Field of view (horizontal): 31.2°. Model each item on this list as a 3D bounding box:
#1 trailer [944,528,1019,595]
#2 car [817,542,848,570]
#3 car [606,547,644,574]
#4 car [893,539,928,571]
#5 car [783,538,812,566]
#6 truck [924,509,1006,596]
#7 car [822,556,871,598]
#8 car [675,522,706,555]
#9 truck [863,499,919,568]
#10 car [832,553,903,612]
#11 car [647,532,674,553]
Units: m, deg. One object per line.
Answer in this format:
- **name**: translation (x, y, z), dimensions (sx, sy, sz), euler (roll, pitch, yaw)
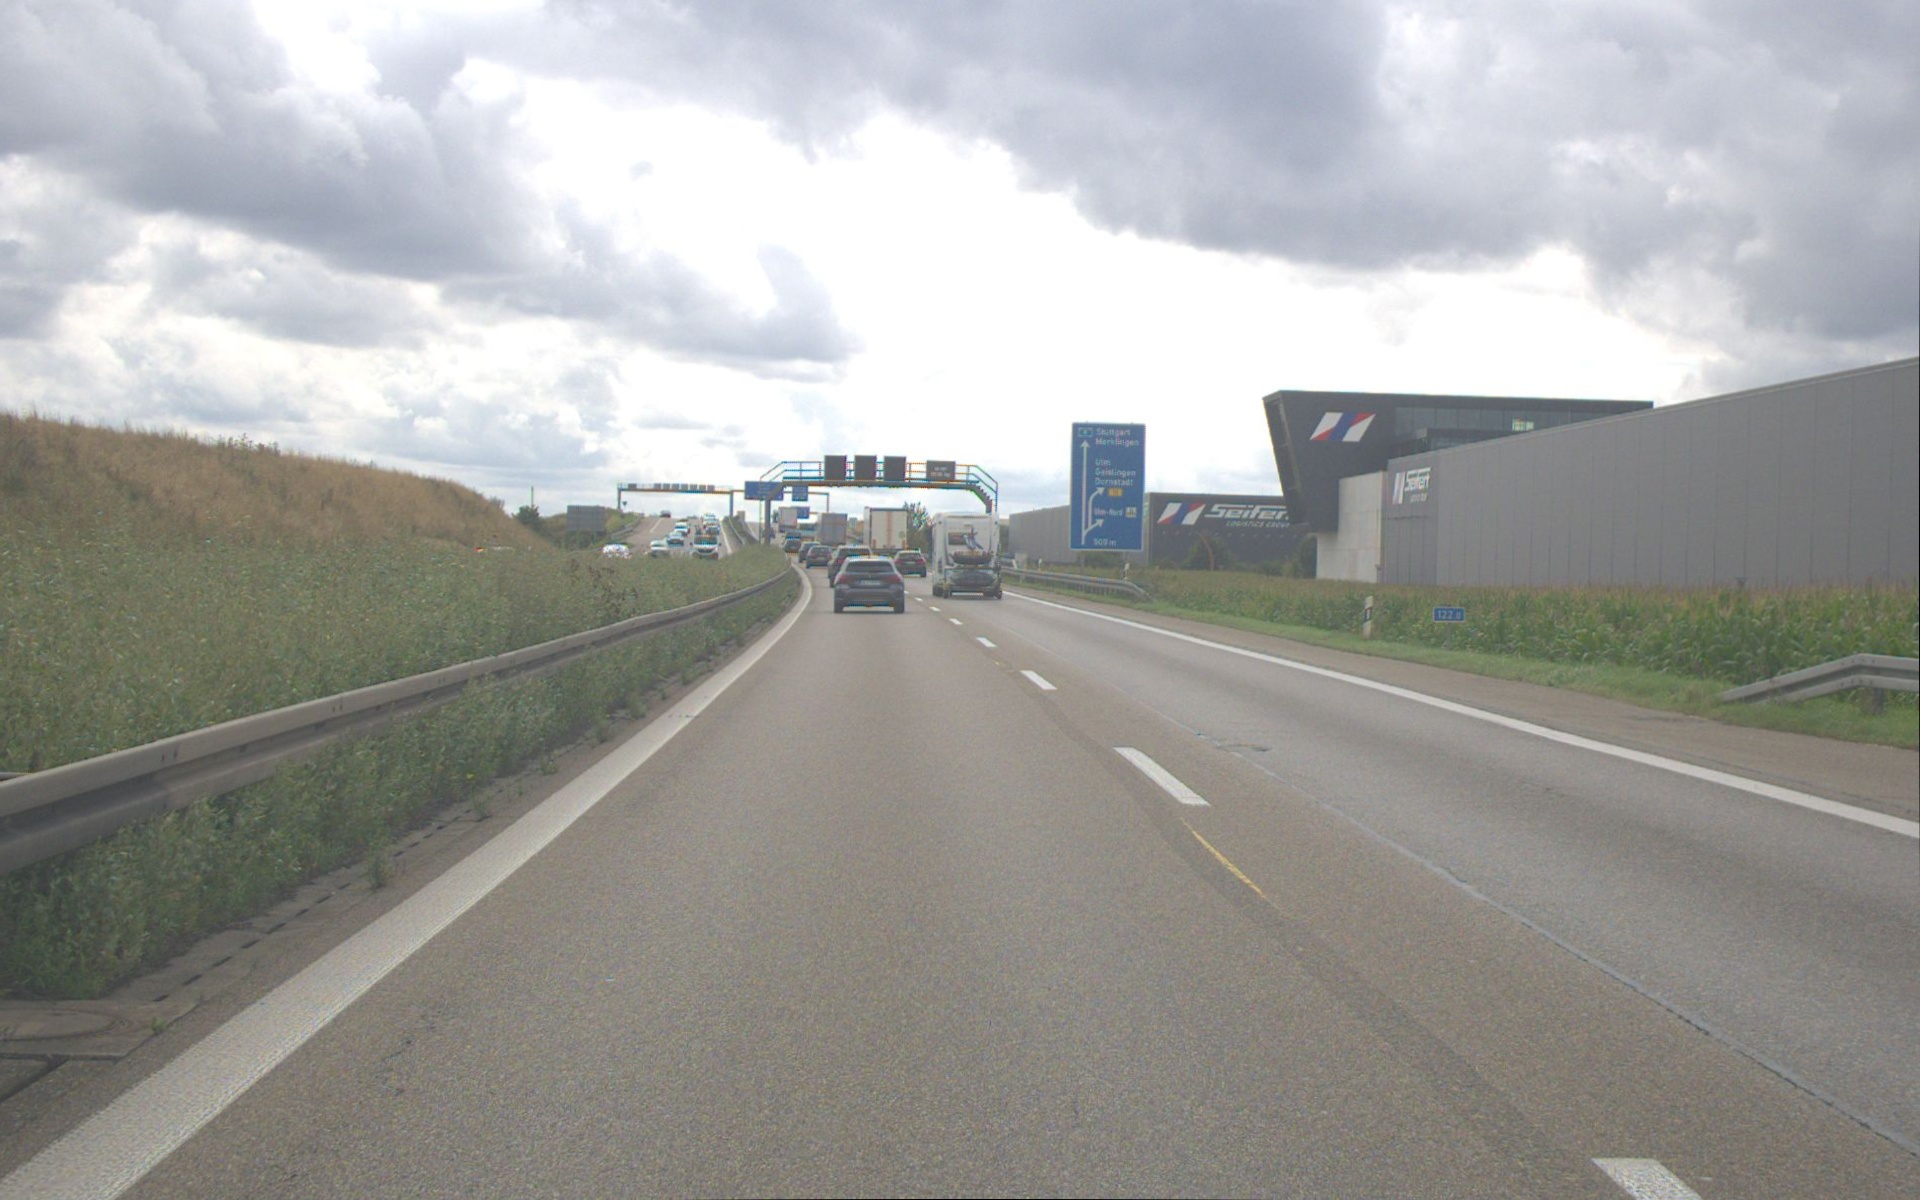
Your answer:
- **trailer**: translation (0.681, -1.272, 114.509), dimensions (2.338, 2.129, 4.000), euler (1, 0, -1)
- **car**: translation (-8.274, -2.856, 223.414), dimensions (1.943, 1.769, 3.696), euler (1, 0, -2)
- **car**: translation (-18.066, -2.145, 185.332), dimensions (1.724, 1.399, 4.342), euler (1, 0, -2)
- **car**: translation (-2.693, -2.440, 185.843), dimensions (1.801, 1.679, 4.000), euler (1, 0, -2)
- **car**: translation (-12.061, -3.541, 255.754), dimensions (1.993, 2.007, 4.000), euler (1, 0, -1)
- **truck**: translation (0.134, -1.658, 121.466), dimensions (2.481, 2.940, 5.815), euler (1, 0, -3)
- **car**: translation (-4.720, -0.971, 143.648), dimensions (1.945, 1.679, 4.000), euler (1, 0, -1)
- **car**: translation (-19.556, -4.452, 249.611), dimensions (1.993, 2.340, 5.872), euler (1, 0, -3)
- **truck**: translation (-4.698, -4.432, 231.681), dimensions (3.339, 4.519, 8.018), euler (1, 0, -3)
- **car**: translation (-2.363, -0.456, 88.195), dimensions (1.746, 1.448, 4.000), euler (1, 0, -1)
- **car**: translation (-22.339, -4.285, 256.733), dimensions (1.772, 1.449, 4.000), euler (1, 0, -2)
